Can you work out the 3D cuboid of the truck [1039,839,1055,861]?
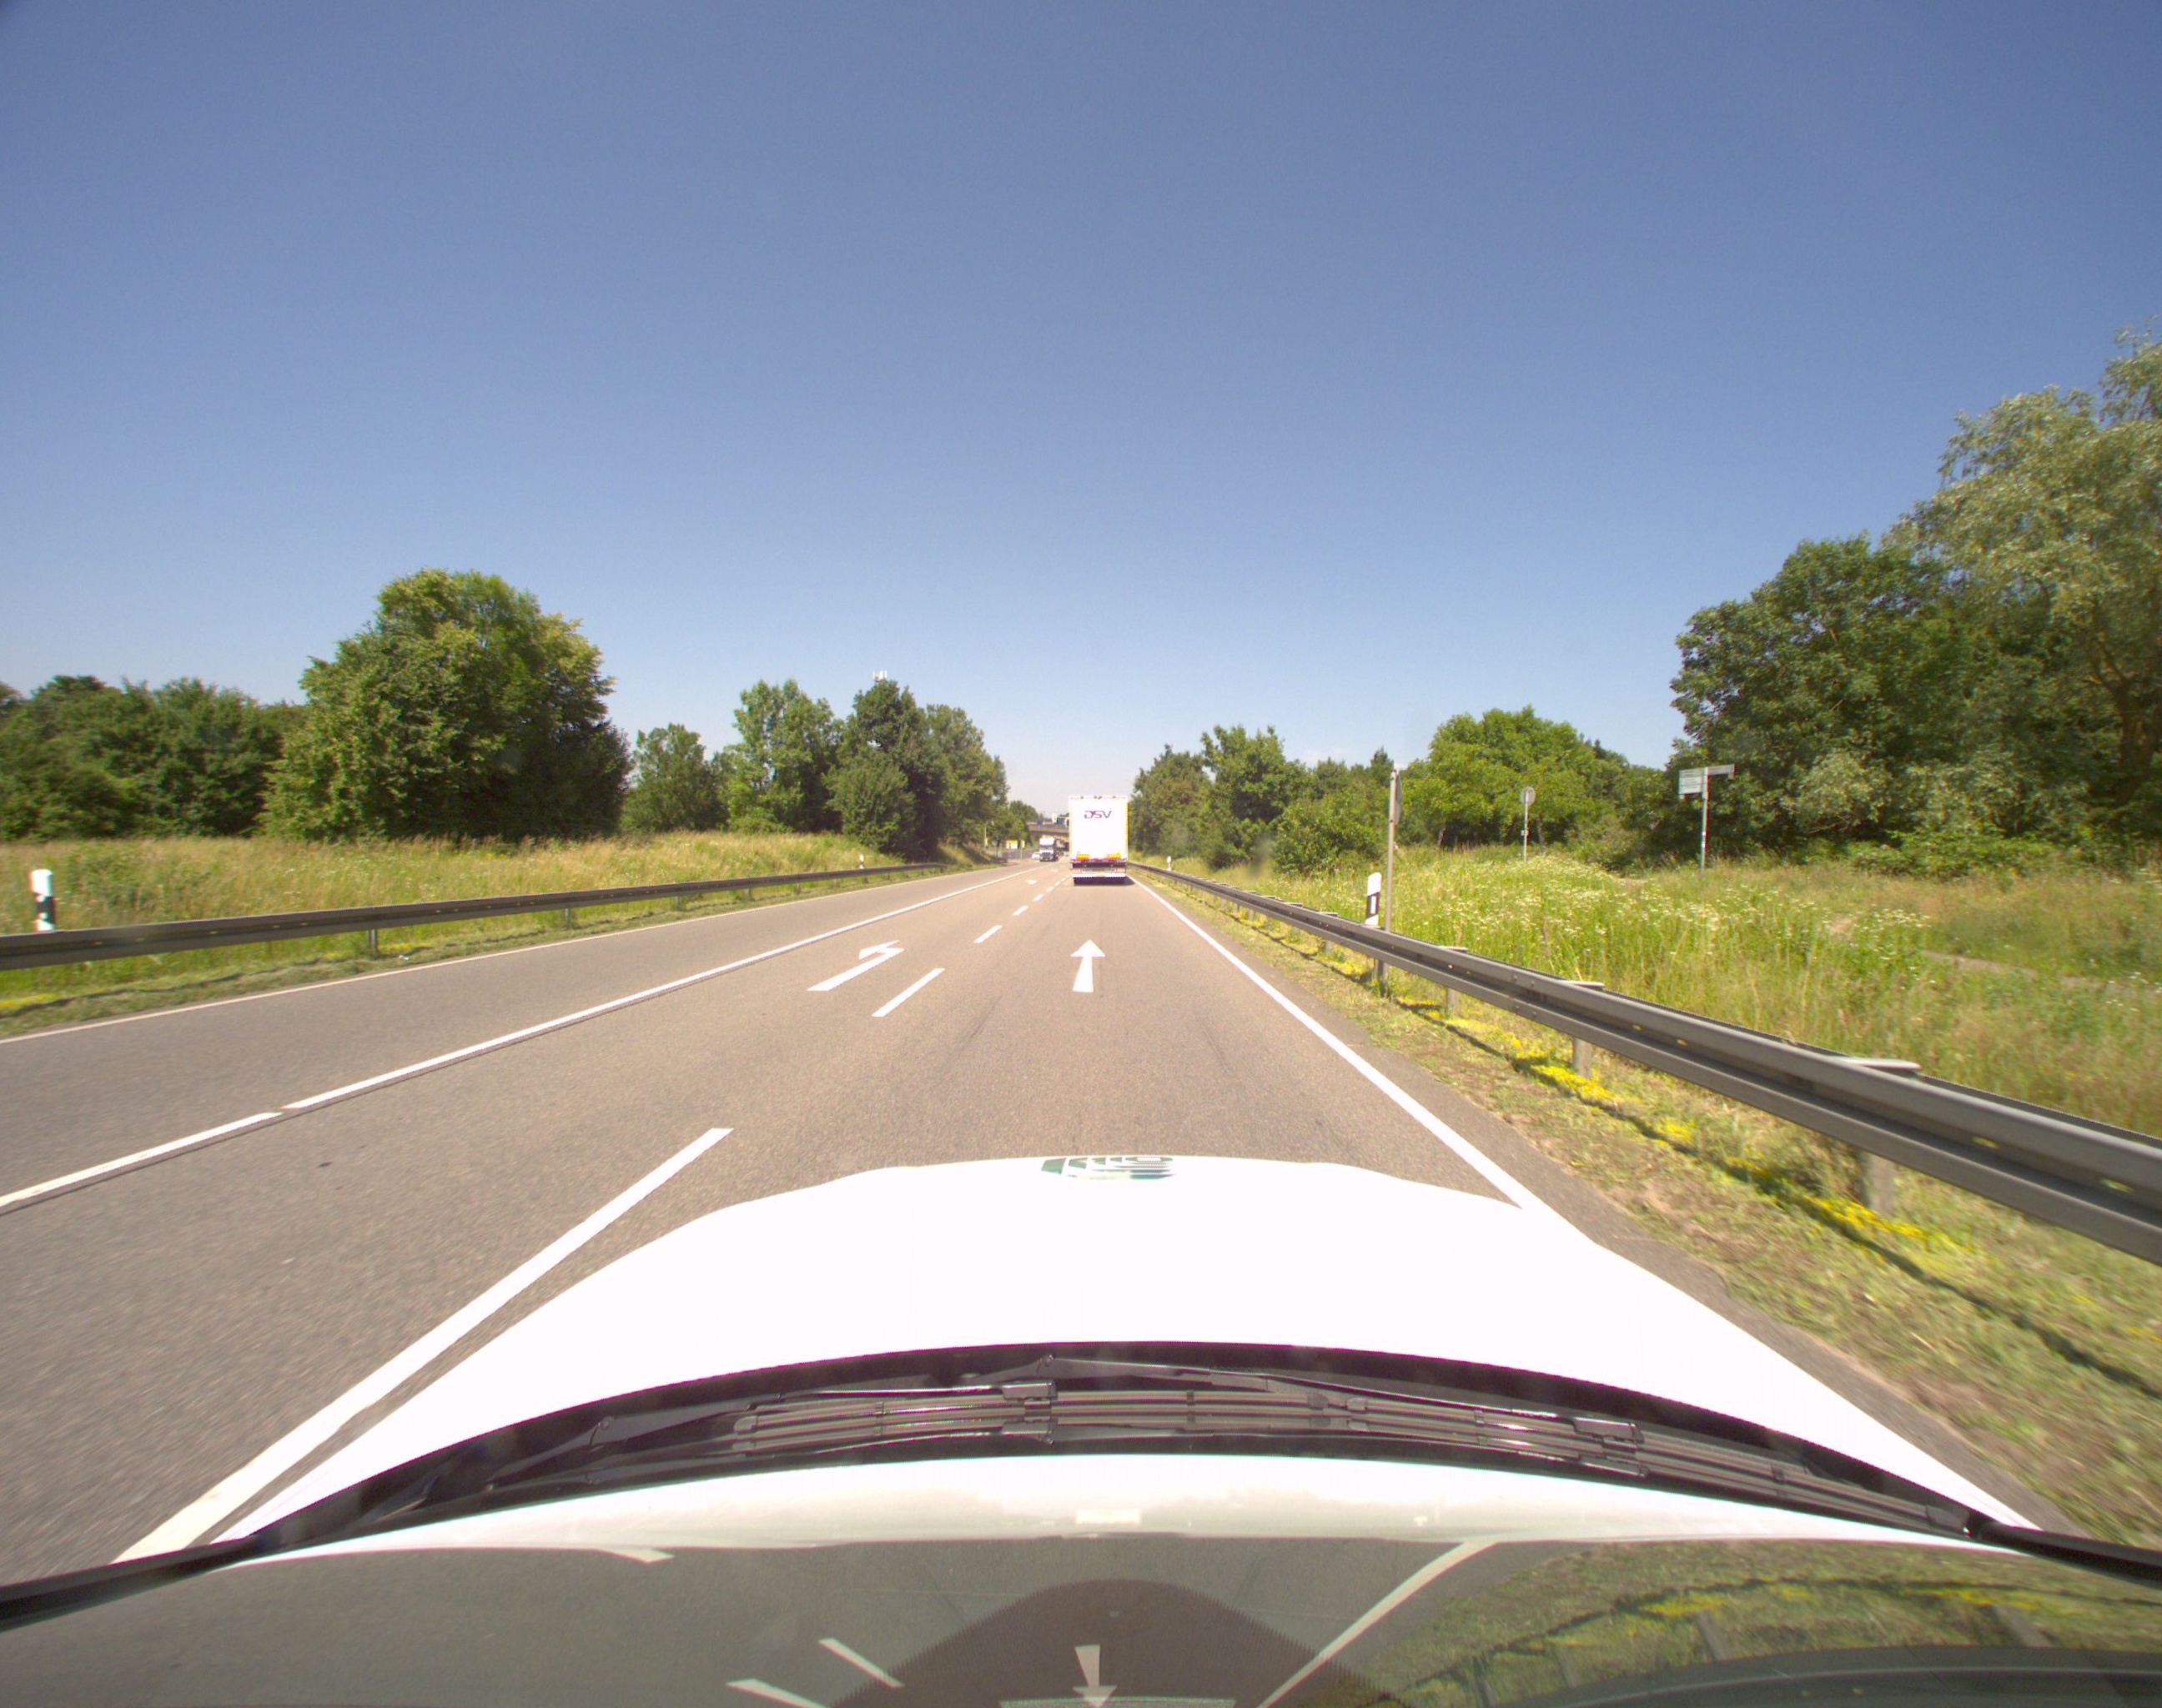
[{"bbox_3d":[-6.061,-0.733,147.689,2.345,3.749,12.625,0,1,0],"label":"truck"}]

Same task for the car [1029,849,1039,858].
[{"bbox_3d":[-9.543,-0.108,167.038,1.796,1.872,4.419,0,1,0],"label":"car"}]

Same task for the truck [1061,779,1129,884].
[{"bbox_3d":[0.753,-0.973,40.423,2.939,4.568,9.866,0,0,2],"label":"truck"}]
